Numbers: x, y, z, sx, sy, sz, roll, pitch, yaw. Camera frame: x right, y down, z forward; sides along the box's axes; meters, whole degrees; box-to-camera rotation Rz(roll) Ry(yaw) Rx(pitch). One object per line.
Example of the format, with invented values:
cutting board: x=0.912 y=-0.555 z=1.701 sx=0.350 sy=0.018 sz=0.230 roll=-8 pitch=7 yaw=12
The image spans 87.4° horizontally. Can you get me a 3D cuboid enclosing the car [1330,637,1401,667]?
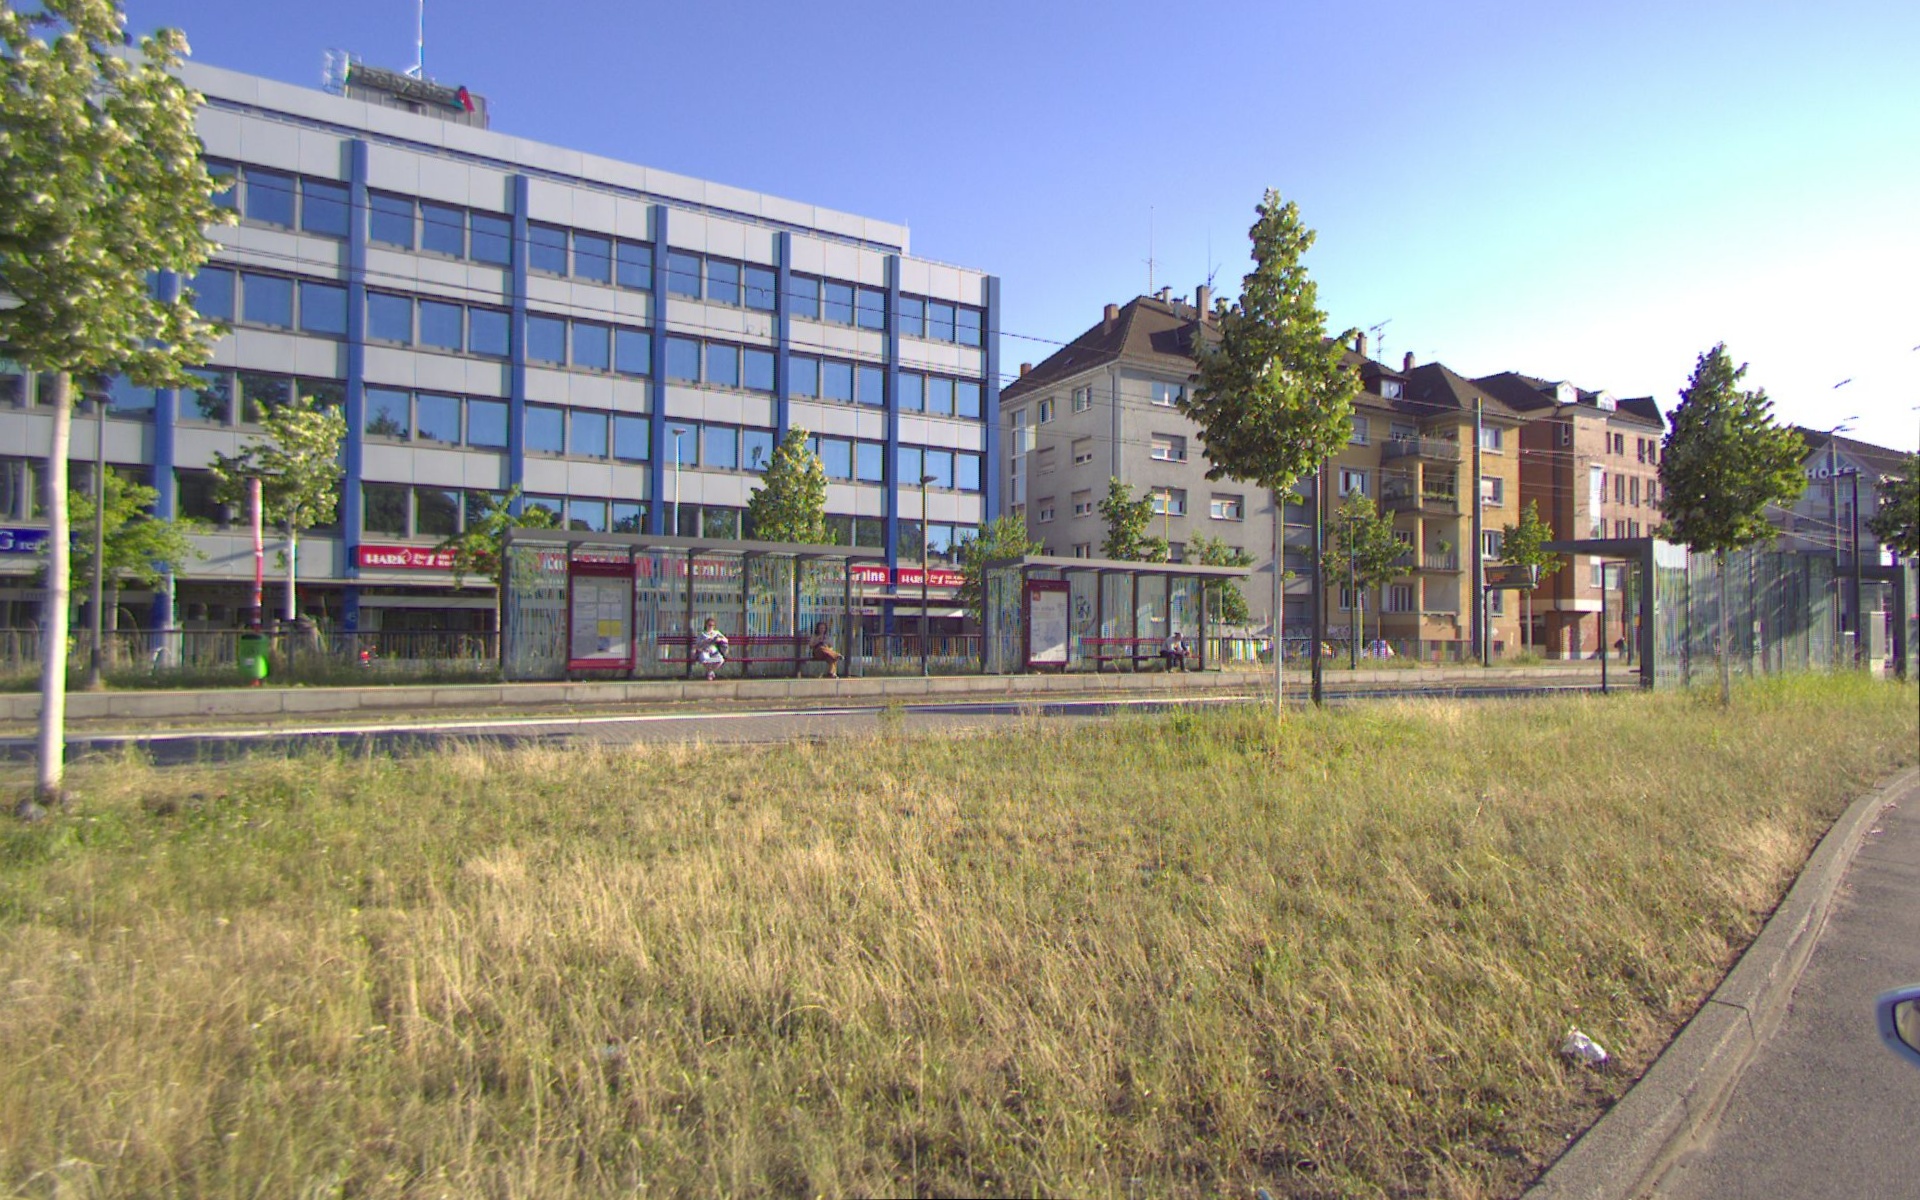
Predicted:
car: x=21.595 y=2.752 z=53.499 sx=3.512 sy=1.505 sz=1.739 roll=1 pitch=-3 yaw=-31

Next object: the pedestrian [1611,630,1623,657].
pedestrian: x=46.522 y=3.088 z=71.122 sx=0.543 sy=1.847 sz=0.482 roll=1 pitch=-1 yaw=-33

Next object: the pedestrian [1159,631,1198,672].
pedestrian: x=5.746 y=1.359 z=26.430 sx=0.785 sy=1.061 sz=0.624 roll=1 pitch=-2 yaw=-30

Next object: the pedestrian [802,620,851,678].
pedestrian: x=-2.893 y=1.051 z=21.719 sx=0.755 sy=1.213 sz=0.929 roll=1 pitch=-2 yaw=-30

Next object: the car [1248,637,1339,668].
car: x=16.872 y=2.624 z=50.791 sx=4.380 sy=1.528 sz=1.984 roll=1 pitch=-2 yaw=-31

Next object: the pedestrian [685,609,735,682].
pedestrian: x=-5.100 y=0.920 z=20.464 sx=0.794 sy=1.429 sz=0.834 roll=1 pitch=-2 yaw=-30
